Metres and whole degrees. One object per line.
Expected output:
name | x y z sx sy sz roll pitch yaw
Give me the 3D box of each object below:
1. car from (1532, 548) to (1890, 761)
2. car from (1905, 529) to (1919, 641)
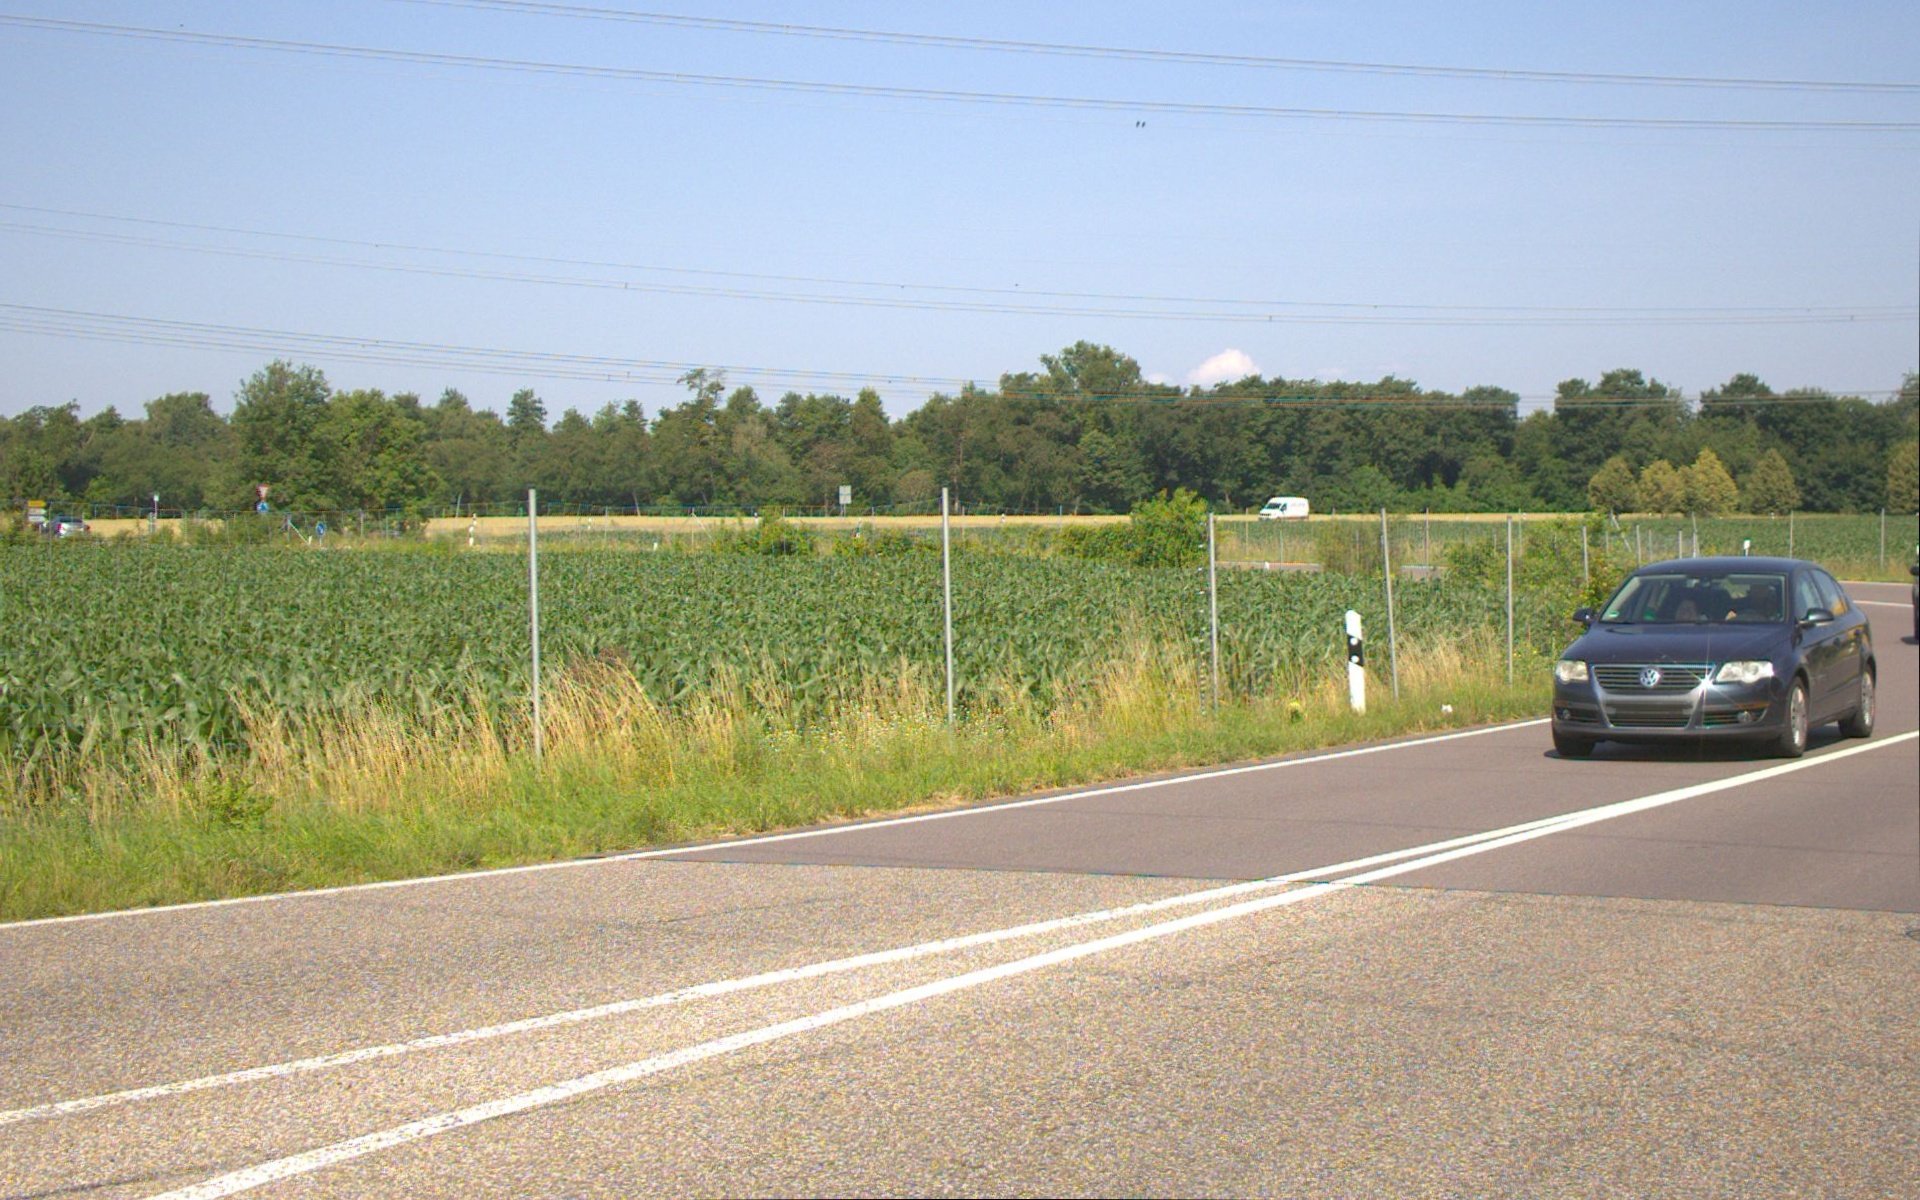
car | 5.810 0.353 26.178 1.777 1.451 4.587 -1 1 24
car | 15.931 -0.251 54.140 1.985 1.700 4.258 1 1 15
